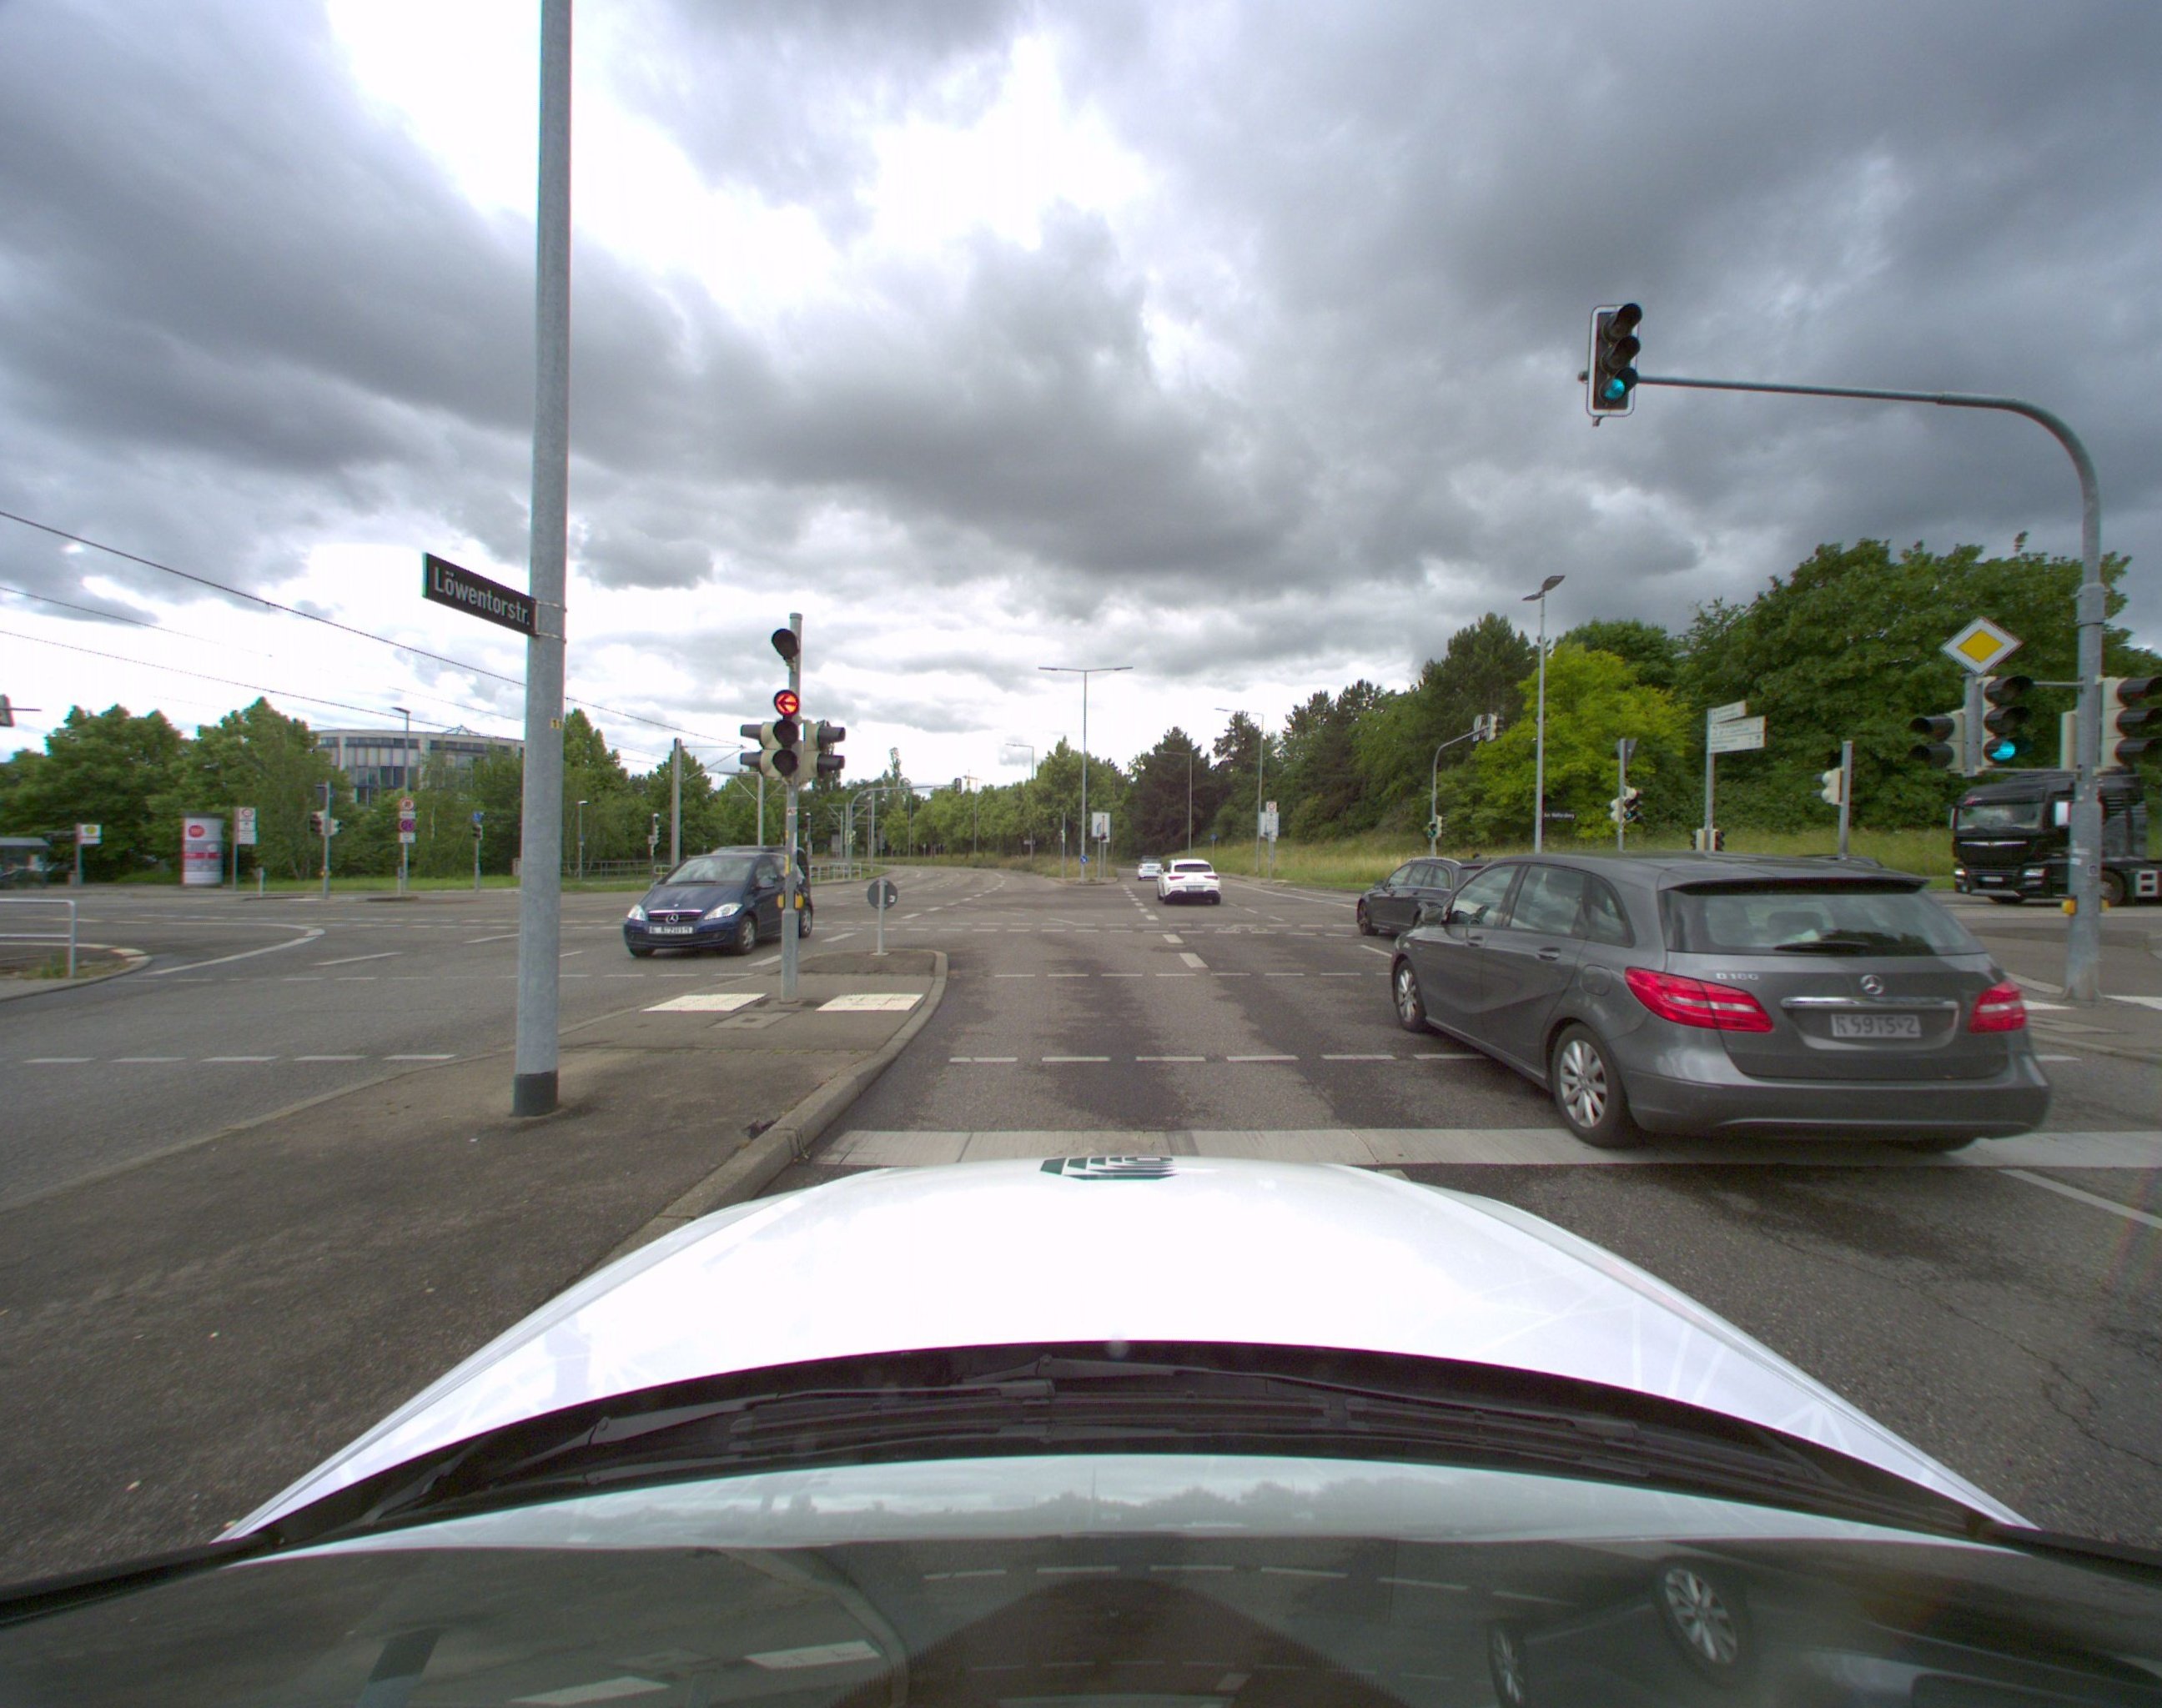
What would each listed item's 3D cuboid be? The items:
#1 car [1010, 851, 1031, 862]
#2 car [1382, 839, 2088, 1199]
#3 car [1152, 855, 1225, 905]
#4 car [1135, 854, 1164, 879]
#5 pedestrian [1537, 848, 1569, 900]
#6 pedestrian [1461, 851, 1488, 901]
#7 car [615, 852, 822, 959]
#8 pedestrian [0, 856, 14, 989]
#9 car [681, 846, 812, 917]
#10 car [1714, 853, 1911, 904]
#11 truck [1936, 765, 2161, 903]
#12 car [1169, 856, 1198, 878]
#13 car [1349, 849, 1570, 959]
[{"bbox_3d":[-9.064,0.311,121.511,1.794,1.603,3.853,0,-1,-27],"label":"car"},{"bbox_3d":[3.495,0.682,5.456,1.738,1.508,4.005,0,0,4],"label":"car"},{"bbox_3d":[3.477,0.819,27.151,1.838,1.506,4.530,0,-1,0],"label":"car"},{"bbox_3d":[4.268,0.786,51.080,1.587,1.516,2.766,0,-1,0],"label":"car"},{"bbox_3d":[15.111,0.636,26.093,0.640,1.612,0.715,0,-1,7],"label":"pedestrian"},{"bbox_3d":[13.364,0.743,27.660,0.640,1.662,0.715,0,-1,8],"label":"pedestrian"},{"bbox_3d":[-5.833,0.742,13.622,1.729,1.508,3.661,0,0,1],"label":"car"},{"bbox_3d":[-12.802,0.789,9.152,0.632,1.536,0.719,0,-1,-2],"label":"pedestrian"},{"bbox_3d":[-9.453,0.713,23.531,1.883,1.812,5.087,-1,0,-3],"label":"car"},{"bbox_3d":[20.271,0.675,22.704,3.859,1.338,1.698,0,-1,4],"label":"car"},{"bbox_3d":[27.946,-0.532,22.293,5.971,3.486,2.694,-1,-1,4],"label":"truck"},{"bbox_3d":[6.942,0.875,55.378,1.607,1.453,3.883,0,-1,2],"label":"car"},{"bbox_3d":[5.947,0.679,13.425,1.740,1.485,4.358,0,1,2],"label":"car"}]
